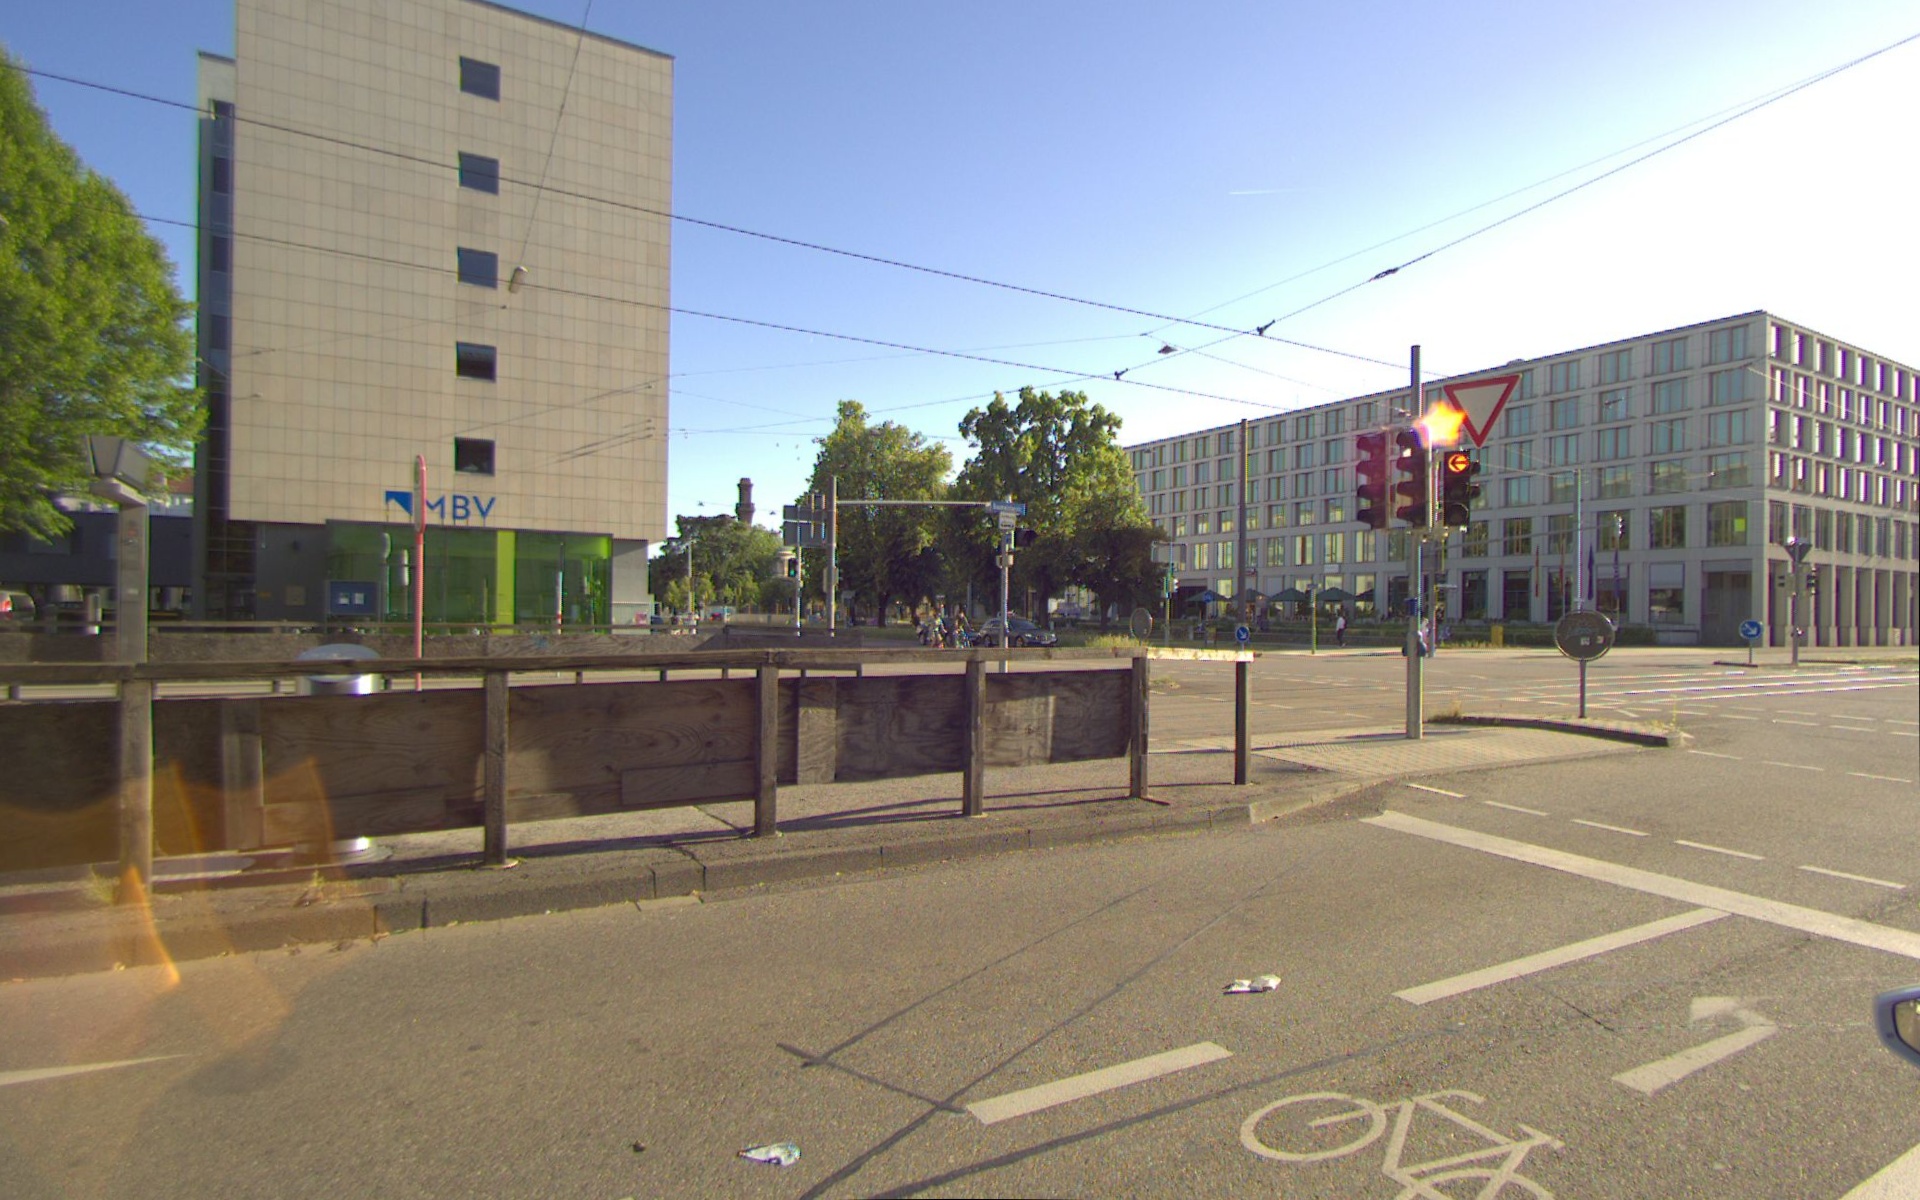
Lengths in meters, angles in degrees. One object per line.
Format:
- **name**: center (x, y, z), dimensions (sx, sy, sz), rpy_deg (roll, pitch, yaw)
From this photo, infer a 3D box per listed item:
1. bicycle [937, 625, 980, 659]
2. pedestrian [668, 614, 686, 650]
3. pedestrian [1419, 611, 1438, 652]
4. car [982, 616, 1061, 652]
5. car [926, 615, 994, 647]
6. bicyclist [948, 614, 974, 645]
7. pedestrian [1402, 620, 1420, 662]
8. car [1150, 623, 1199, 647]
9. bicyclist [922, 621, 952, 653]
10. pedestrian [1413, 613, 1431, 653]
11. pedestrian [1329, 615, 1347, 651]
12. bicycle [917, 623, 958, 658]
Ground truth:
- **bicycle**: center (-0.073, 1.665, 40.183), dimensions (0.783, 1.308, 1.975), rpy_deg (1, -1, -31)
- **pedestrian**: center (-12.362, 1.401, 43.841), dimensions (0.593, 1.561, 0.620), rpy_deg (1, -1, -32)
- **pedestrian**: center (23.619, 1.575, 50.619), dimensions (0.793, 2.040, 0.526), rpy_deg (1, -1, -36)
- **car**: center (2.838, 1.565, 47.536), dimensions (1.708, 1.595, 4.140), rpy_deg (1, -1, -31)
- **car**: center (-0.043, 1.592, 52.732), dimensions (1.801, 1.595, 3.967), rpy_deg (0, 0, -31)
- **bicyclist**: center (0.024, 1.161, 40.025), dimensions (0.788, 1.235, 0.717), rpy_deg (1, -1, -31)
- **pedestrian**: center (22.555, 2.040, 50.246), dimensions (0.793, 2.040, 0.526), rpy_deg (1, -1, -36)
- **car**: center (13.514, 2.166, 63.293), dimensions (1.450, 1.457, 3.177), rpy_deg (1, -1, -23)
- **bicyclist**: center (-0.909, 1.440, 39.237), dimensions (0.788, 1.235, 0.920), rpy_deg (1, -1, -33)
- **pedestrian**: center (23.591, 1.686, 51.330), dimensions (0.793, 2.040, 0.526), rpy_deg (1, -1, -36)
- **pedestrian**: center (20.384, 1.801, 54.136), dimensions (0.672, 1.928, 0.560), rpy_deg (1, -1, -21)
- **bicycle**: center (-0.886, 1.566, 39.201), dimensions (0.783, 1.308, 1.840), rpy_deg (1, -1, -33)
